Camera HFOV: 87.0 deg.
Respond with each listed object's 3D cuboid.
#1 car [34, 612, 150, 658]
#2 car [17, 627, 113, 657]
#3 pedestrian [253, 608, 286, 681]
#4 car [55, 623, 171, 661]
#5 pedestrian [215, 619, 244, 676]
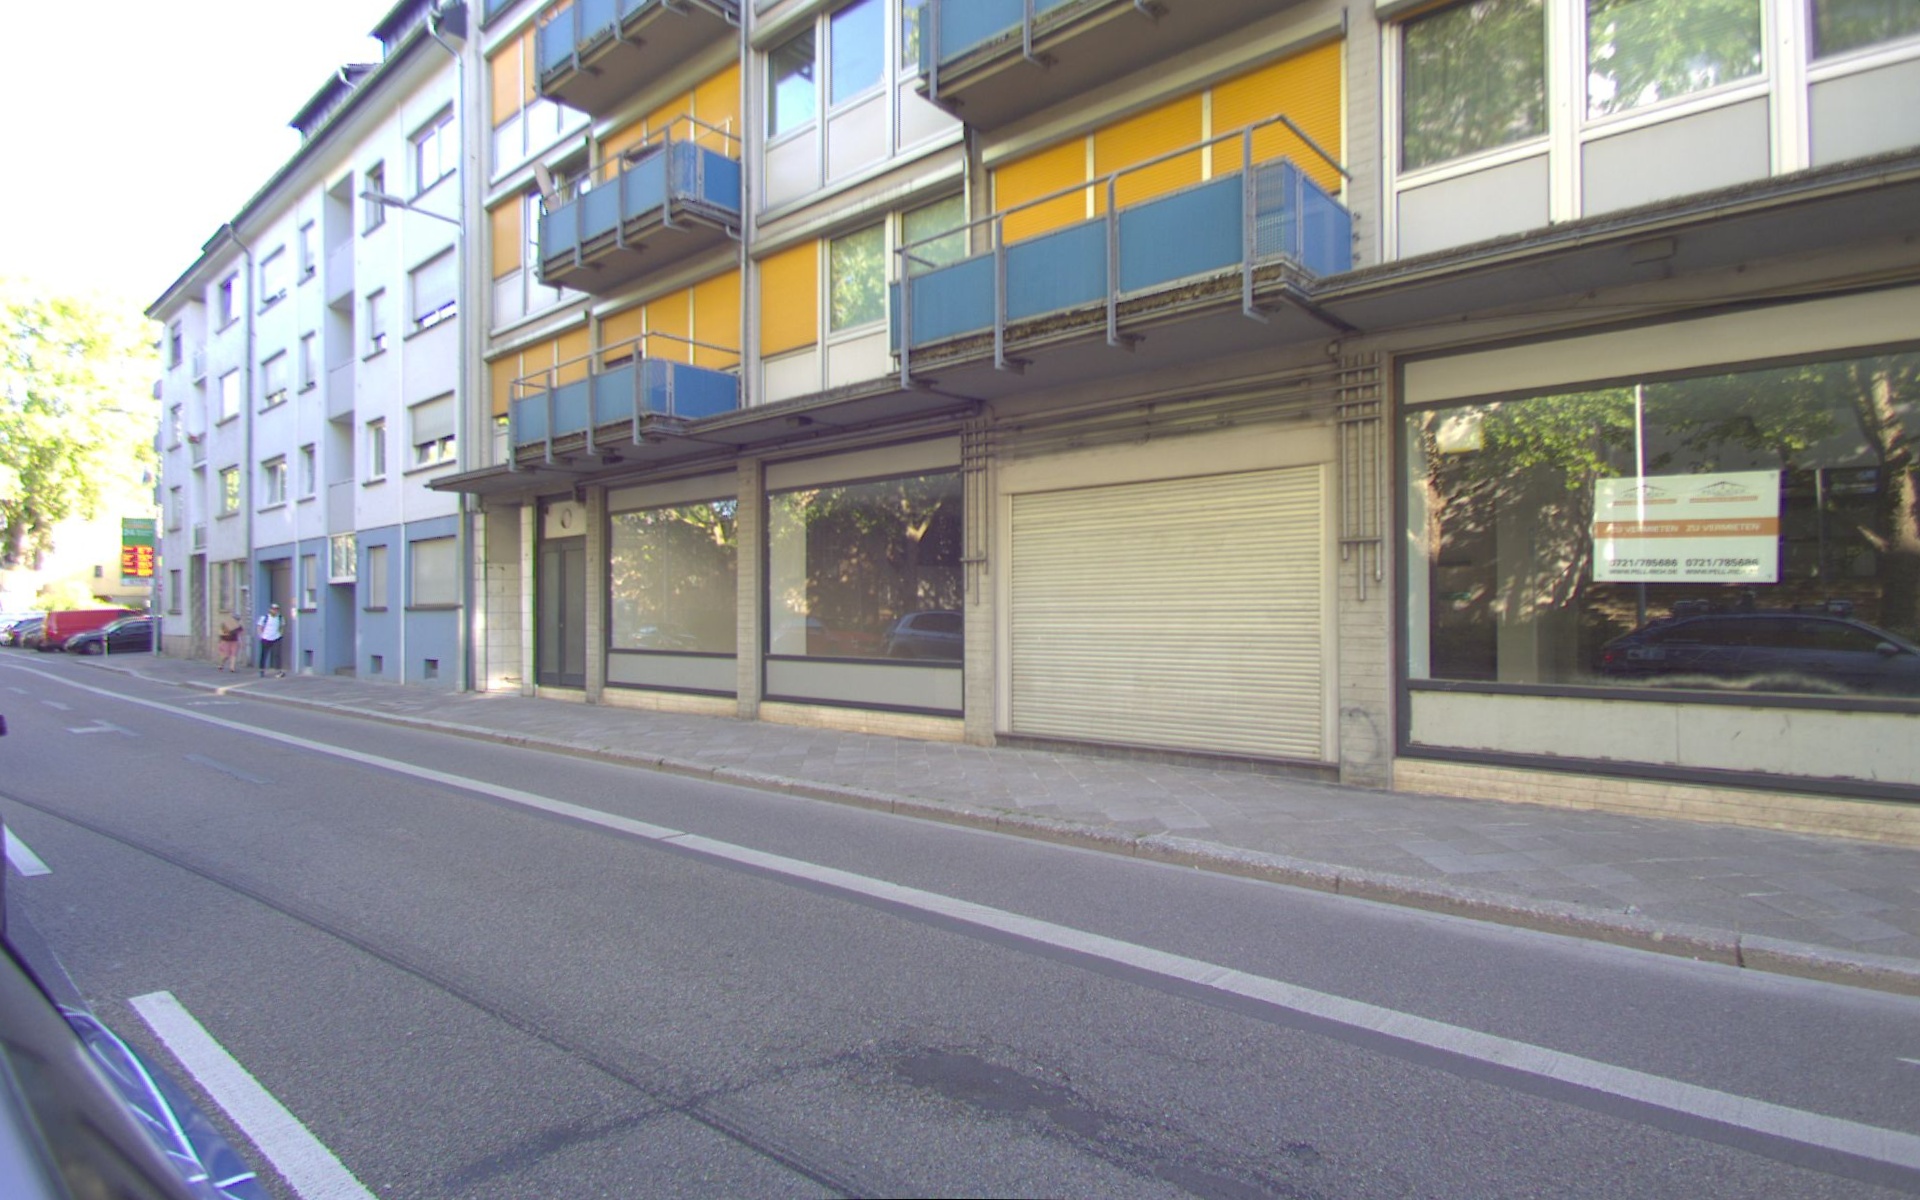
[{"bbox_3d":[-40.569,1.591,47.367,1.635,1.937,3.878,-2,0,41],"label":"car"},{"bbox_3d":[-42.986,2.009,48.643,1.294,1.258,3.283,-1,0,41],"label":"car"},{"bbox_3d":[-16.876,1.073,24.747,0.343,1.739,0.562,-2,0,41],"label":"pedestrian"},{"bbox_3d":[-36.665,1.778,43.853,1.635,1.422,3.623,-1,0,41],"label":"car"},{"bbox_3d":[-20.014,1.299,27.732,0.343,1.529,0.562,-2,0,41],"label":"pedestrian"}]
